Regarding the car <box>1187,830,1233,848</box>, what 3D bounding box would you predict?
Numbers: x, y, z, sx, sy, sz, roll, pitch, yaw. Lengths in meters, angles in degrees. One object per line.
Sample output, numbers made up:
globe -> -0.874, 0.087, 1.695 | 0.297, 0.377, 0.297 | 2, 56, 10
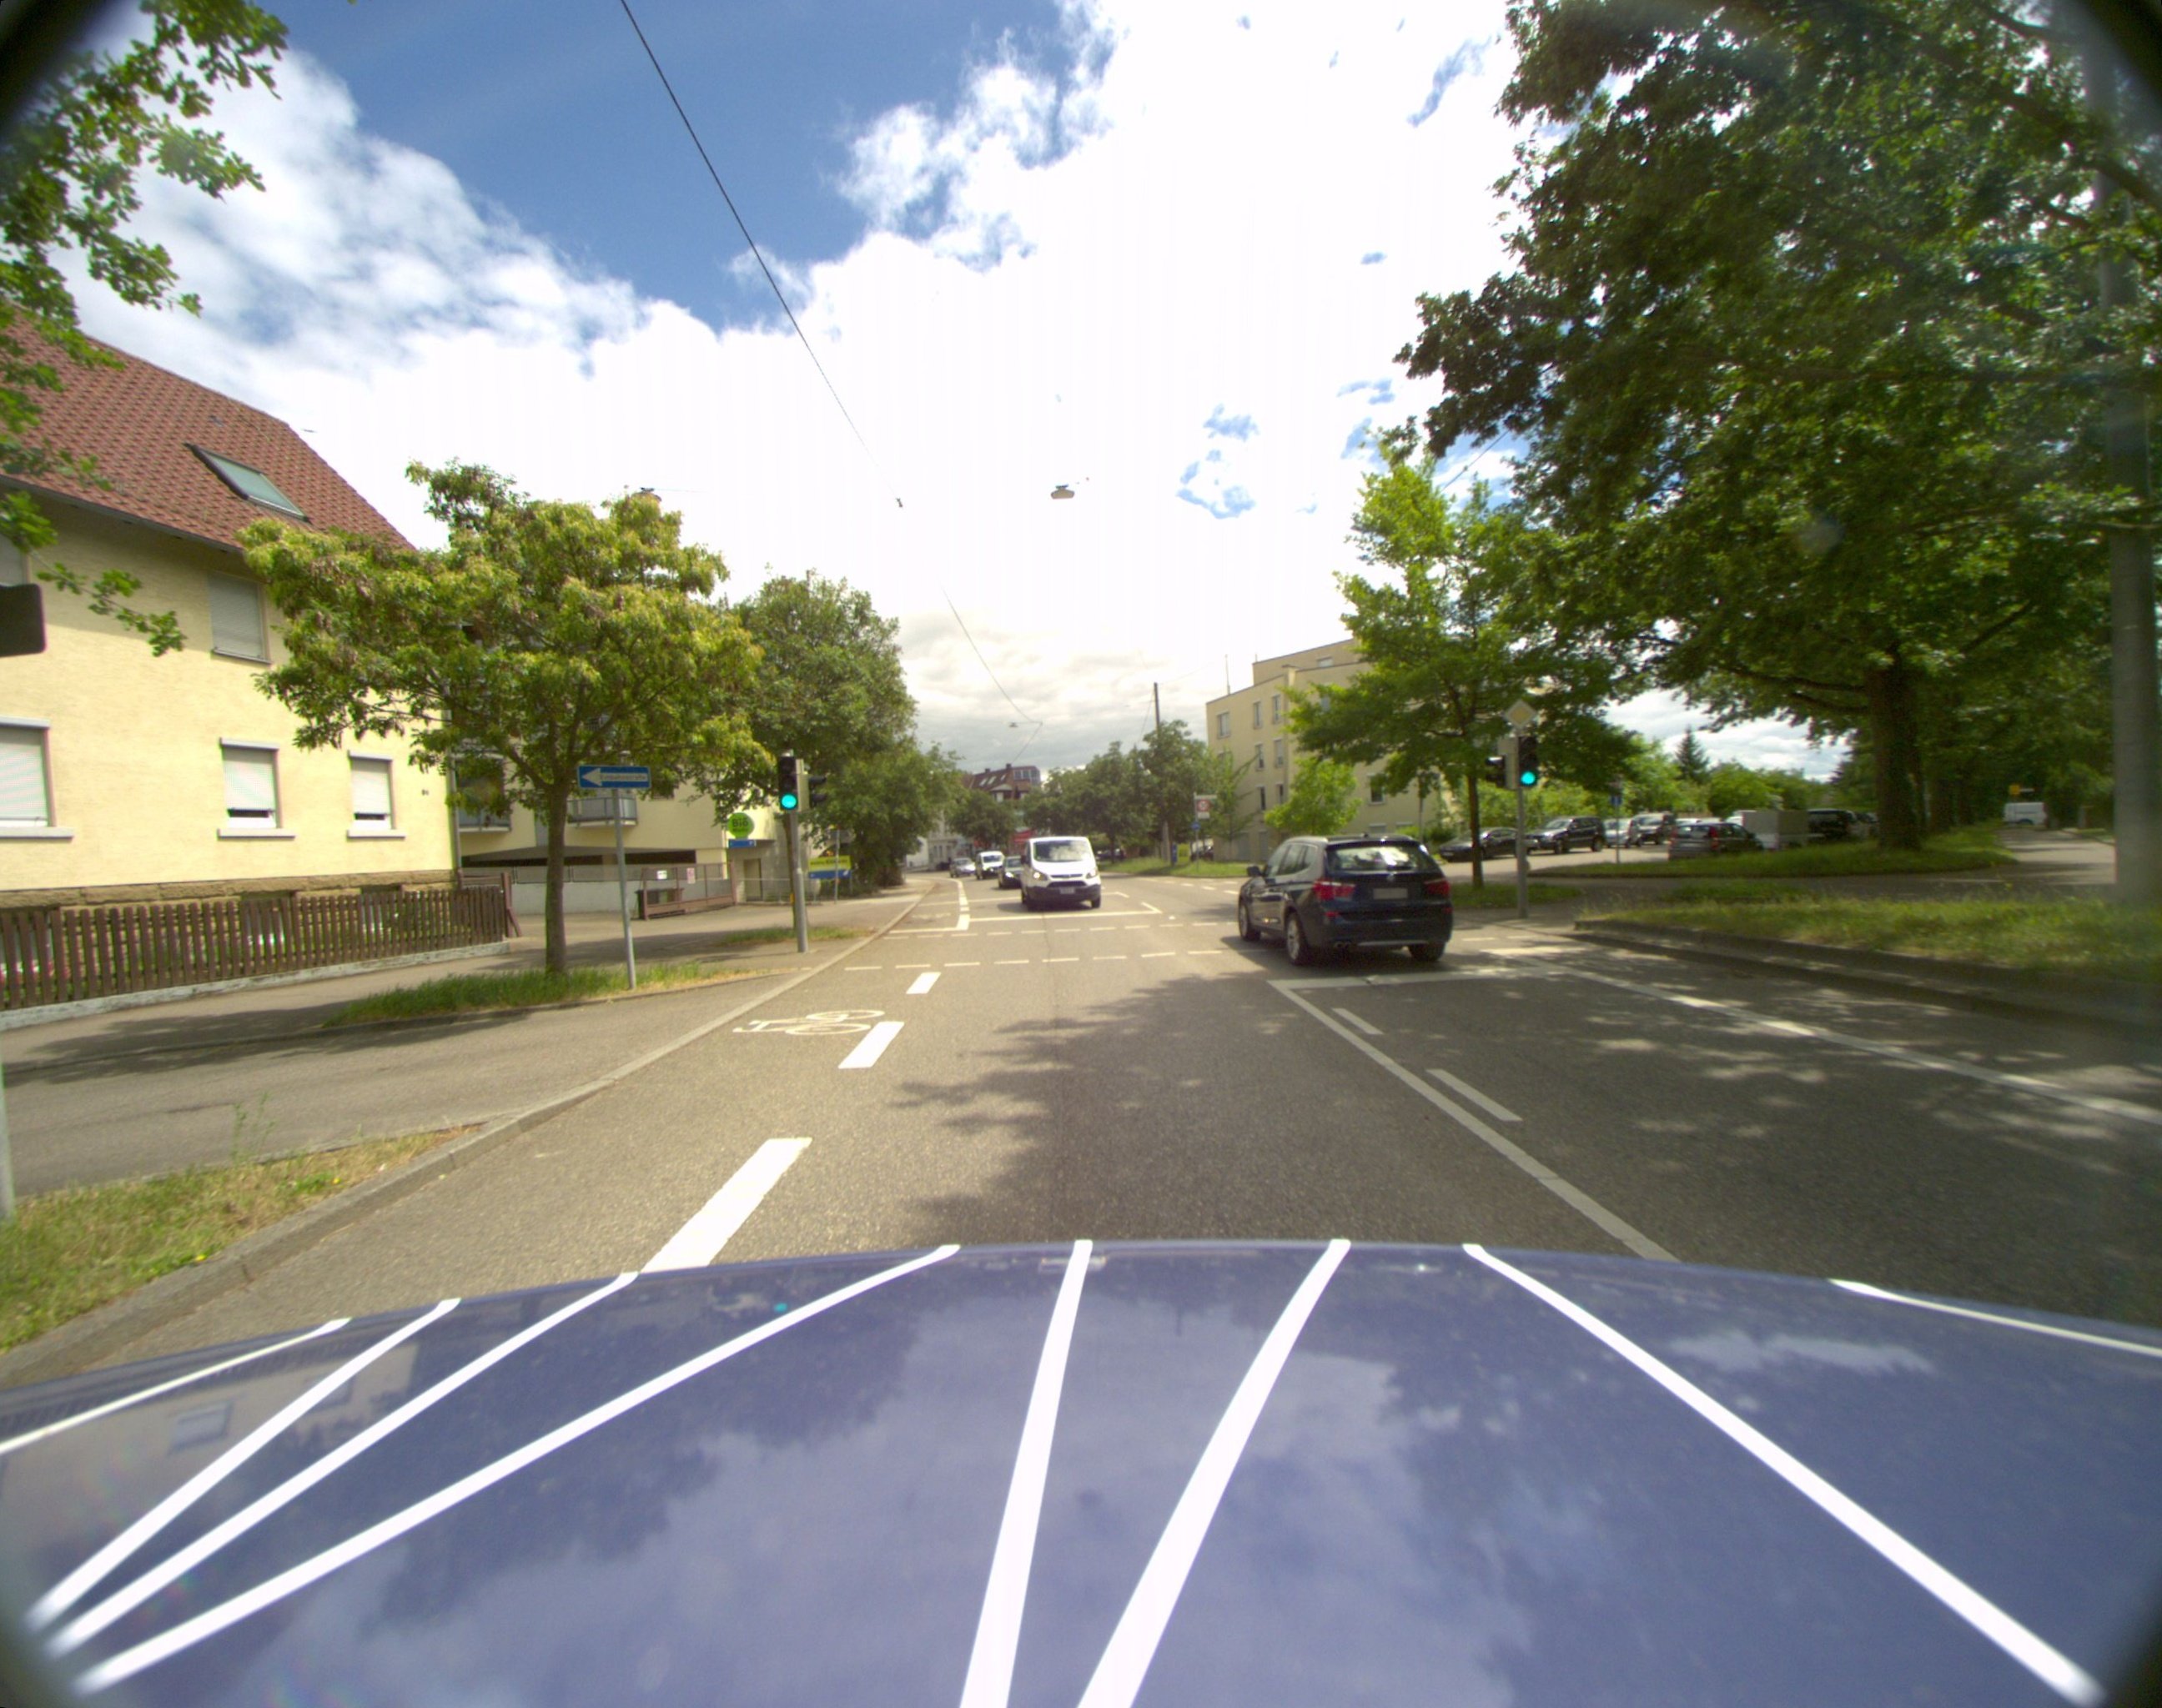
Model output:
car -> 11.298, -1.294, 66.473 | 4.008, 1.411, 1.789 | -1, -1, -41

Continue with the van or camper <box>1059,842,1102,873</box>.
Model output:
van or camper -> -0.096, 0.207, 47.360 | 1.867, 1.766, 4.376 | -3, 1, -9

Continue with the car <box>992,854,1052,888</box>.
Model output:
car -> -2.758, 0.746, 34.654 | 1.842, 1.382, 3.994 | -3, 0, -17

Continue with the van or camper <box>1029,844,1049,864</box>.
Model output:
van or camper -> -4.987, -0.042, 89.770 | 1.795, 2.077, 3.807 | -6, 2, -10

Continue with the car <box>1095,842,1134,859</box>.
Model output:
car -> 3.850, -0.373, 86.893 | 3.980, 1.672, 1.715 | -4, 2, -15

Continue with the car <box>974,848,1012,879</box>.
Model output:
car -> -5.966, 0.596, 51.076 | 1.854, 1.806, 3.994 | -6, 2, -14

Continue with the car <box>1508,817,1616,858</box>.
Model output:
car -> 23.218, -0.828, 36.680 | 4.796, 1.594, 2.097 | -5, 3, -24

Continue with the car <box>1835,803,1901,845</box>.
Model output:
car -> 39.584, -1.507, 38.188 | 4.005, 1.725, 1.651 | -7, 3, -35

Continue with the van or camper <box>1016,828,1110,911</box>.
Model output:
van or camper -> -0.659, 0.397, 22.043 | 2.028, 2.002, 5.099 | -3, 1, -8

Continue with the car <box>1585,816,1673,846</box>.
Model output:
car -> 28.836, -1.183, 39.979 | 4.004, 1.324, 1.970 | -4, 1, -23

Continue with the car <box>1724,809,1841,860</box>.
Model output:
car -> 26.766, -0.732, 28.999 | 4.005, 1.833, 1.842 | -1, 0, -24

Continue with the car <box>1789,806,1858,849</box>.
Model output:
car -> 34.744, -1.275, 35.514 | 4.426, 1.783, 2.121 | -4, 1, -44

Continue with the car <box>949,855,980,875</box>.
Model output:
car -> -9.686, 0.865, 62.874 | 1.695, 1.478, 3.993 | -6, 2, -20

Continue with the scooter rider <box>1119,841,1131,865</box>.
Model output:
scooter rider -> 3.739, -0.073, 64.846 | 0.679, 2.002, 0.793 | -6, 2, -12

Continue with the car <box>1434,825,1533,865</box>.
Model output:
car -> 18.303, -0.397, 34.567 | 4.156, 1.390, 1.734 | -6, 2, -24

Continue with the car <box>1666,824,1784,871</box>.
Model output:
car -> 22.907, -0.257, 27.013 | 4.004, 1.444, 1.693 | -3, 2, -26
